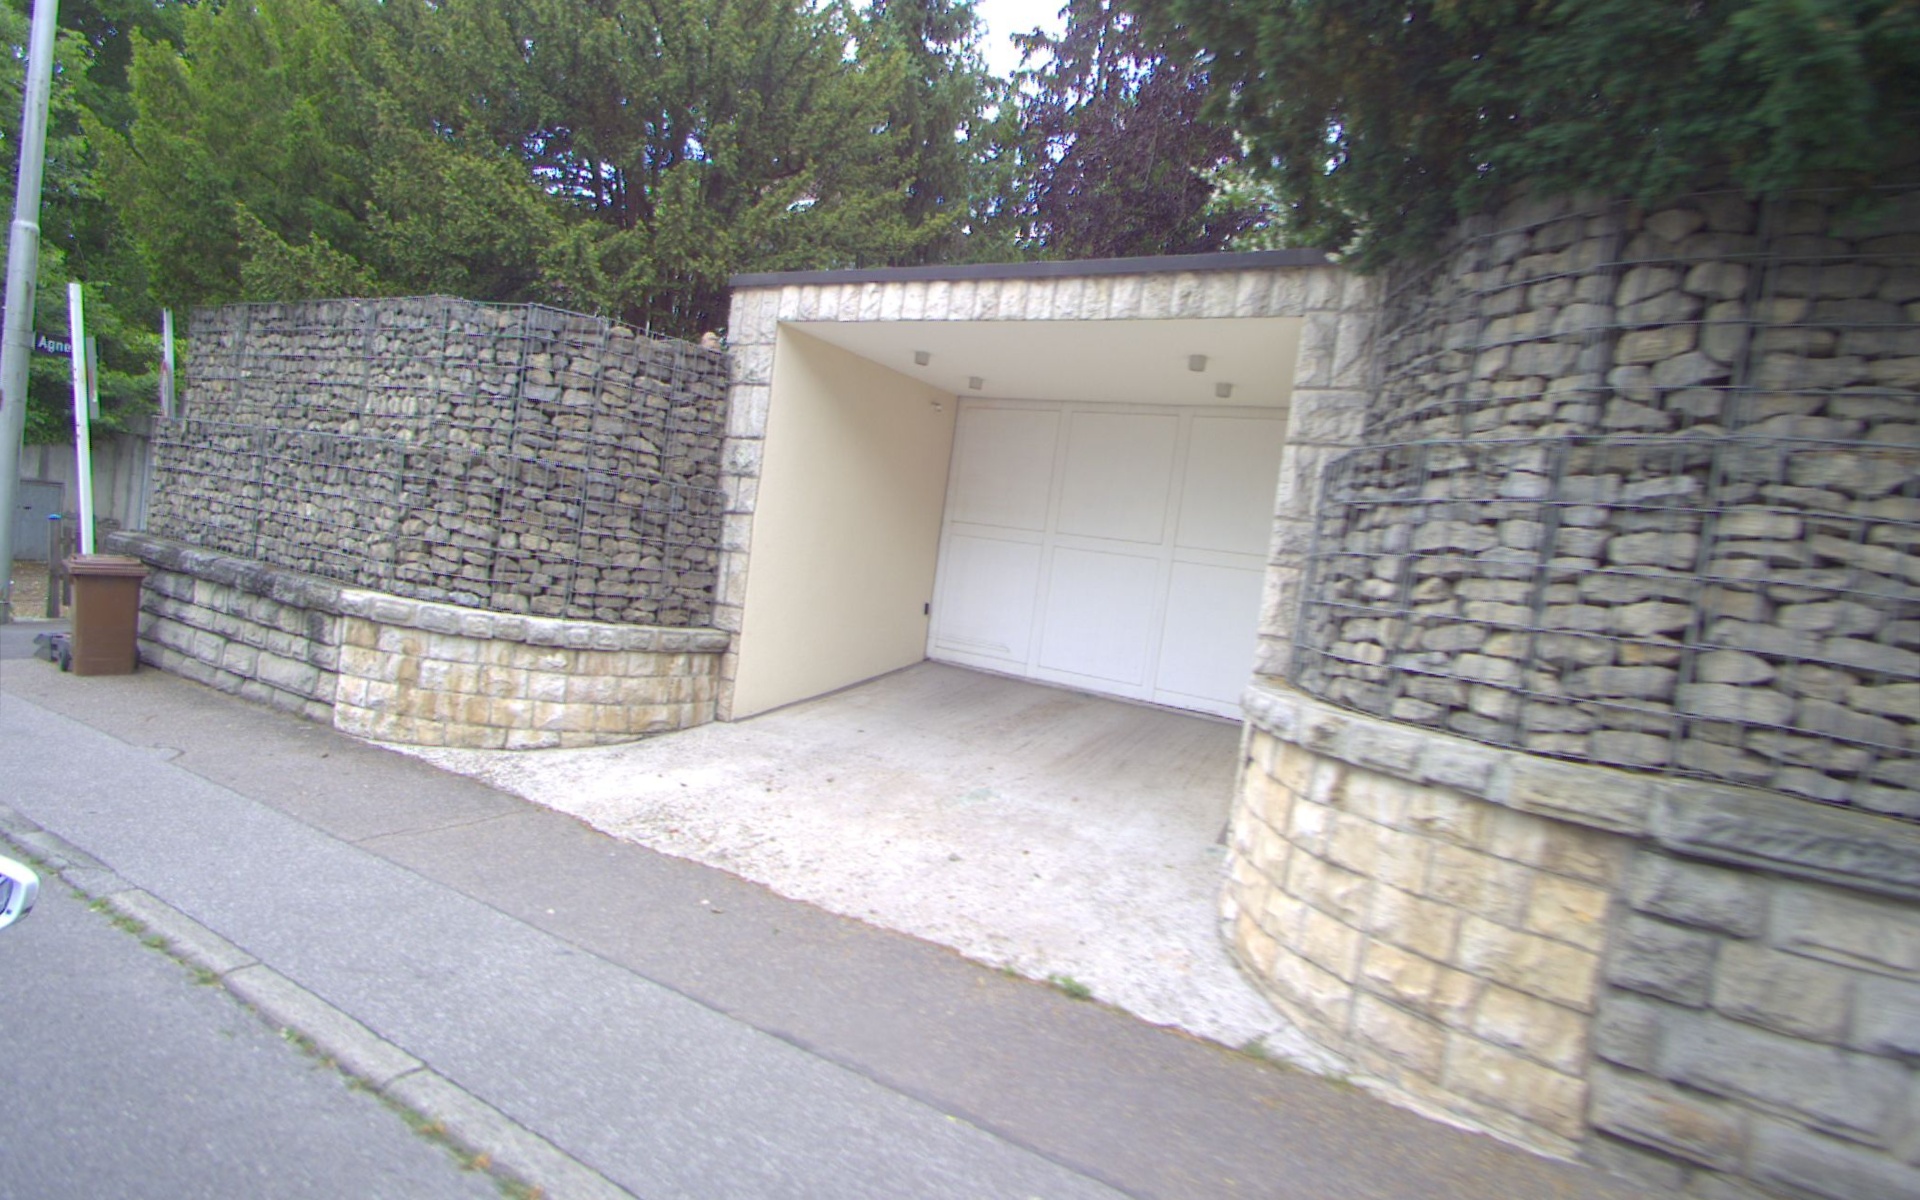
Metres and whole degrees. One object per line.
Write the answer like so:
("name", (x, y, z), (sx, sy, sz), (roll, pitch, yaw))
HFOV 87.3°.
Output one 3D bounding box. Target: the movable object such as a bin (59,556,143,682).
("movable object such as a bin", (-6.689, 0.140, 7.834), (0.388, 0.923, 0.443), (8, 6, 41))
